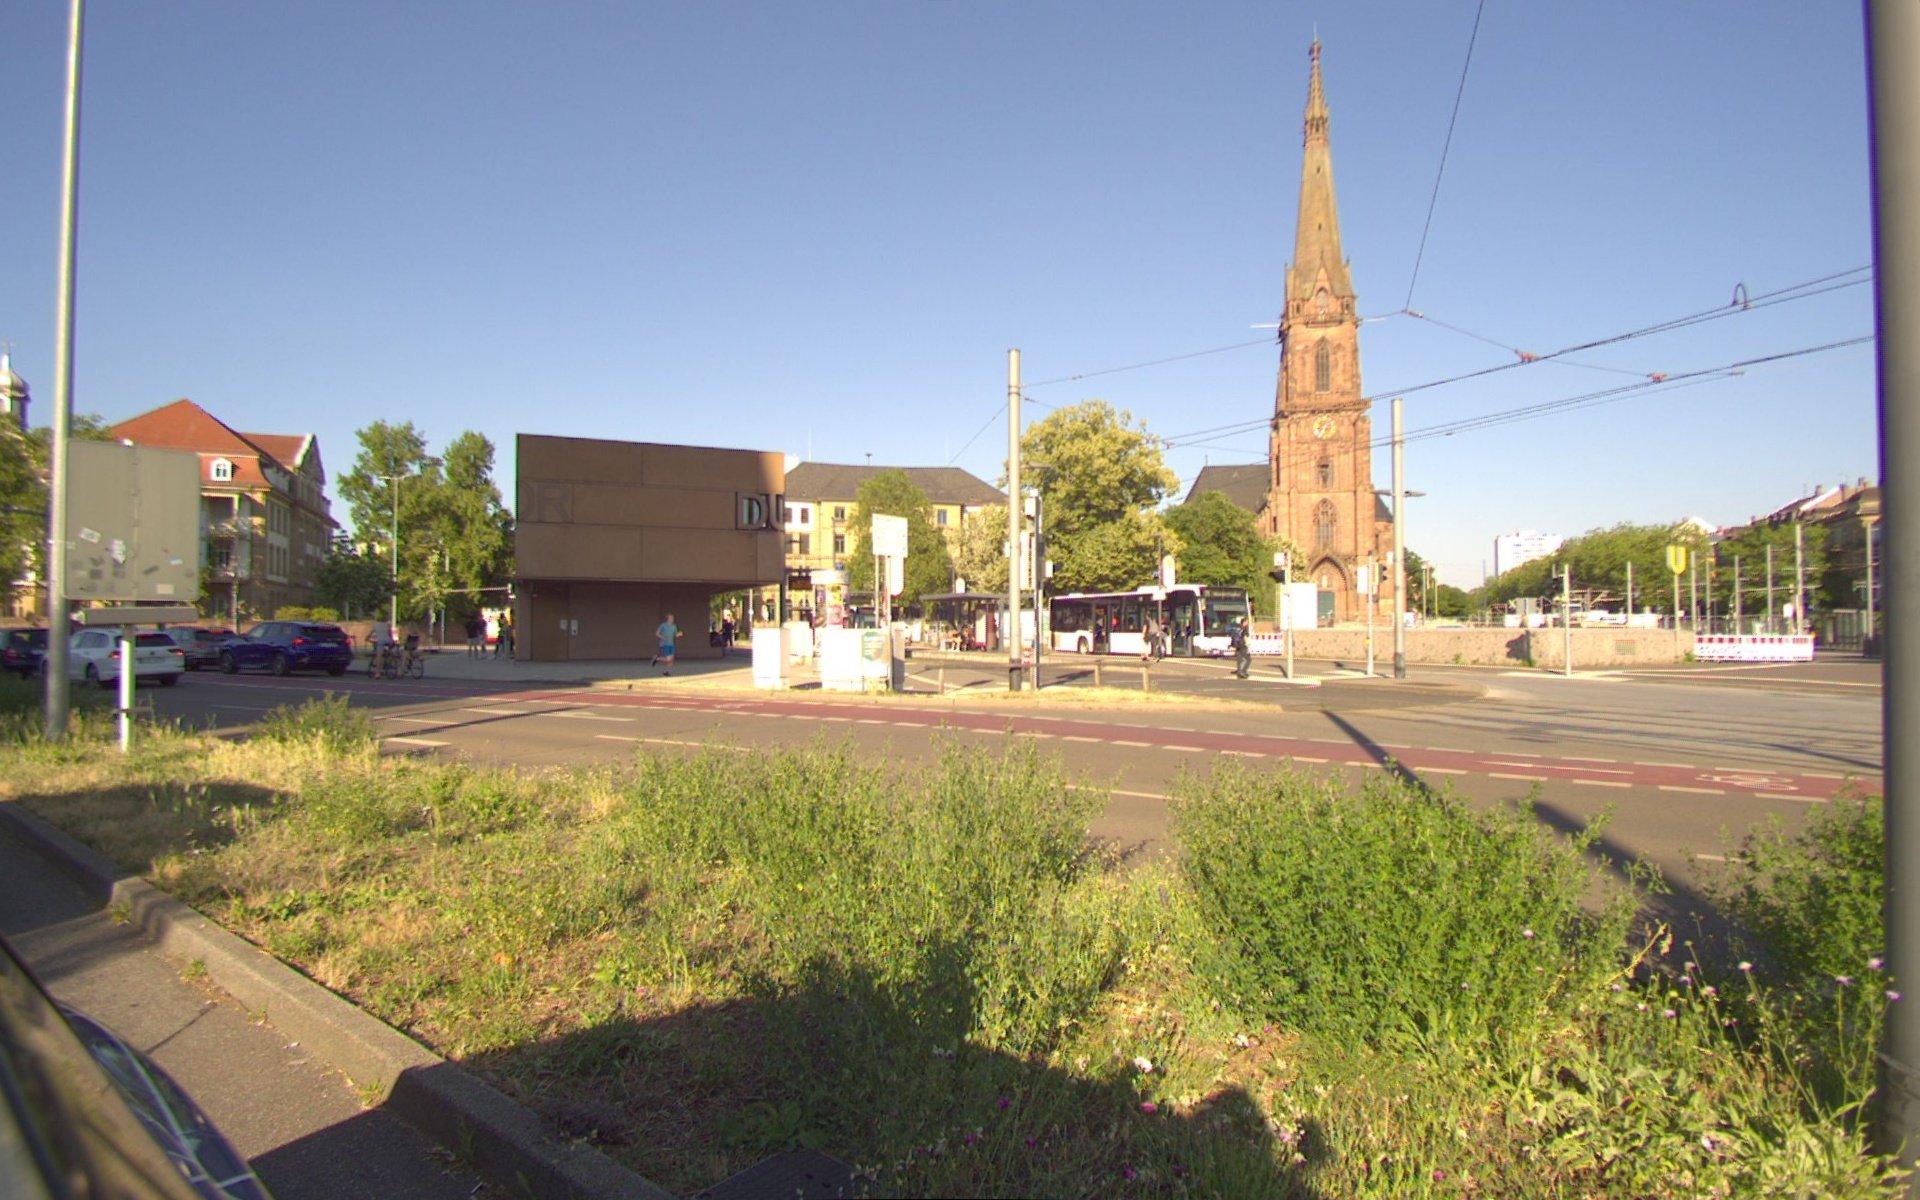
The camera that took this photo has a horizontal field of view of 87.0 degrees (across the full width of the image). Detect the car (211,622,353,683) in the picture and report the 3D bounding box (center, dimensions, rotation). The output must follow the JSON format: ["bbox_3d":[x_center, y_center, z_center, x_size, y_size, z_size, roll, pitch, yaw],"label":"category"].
[{"bbox_3d":[-20.144,1.503,30.052,4.168,1.703,1.740,-1,-1,28],"label":"car"}]

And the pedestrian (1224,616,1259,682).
[{"bbox_3d":[7.812,1.343,28.083,0.702,1.771,0.584,-1,0,-30],"label":"pedestrian"}]

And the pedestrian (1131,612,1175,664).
[{"bbox_3d":[6.572,1.275,34.492,1.025,1.696,1.007,-1,0,-25],"label":"pedestrian"}]

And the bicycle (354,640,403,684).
[{"bbox_3d":[-16.426,1.745,28.577,1.388,1.201,0.461,-1,0,24],"label":"bicycle"}]

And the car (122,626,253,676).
[{"bbox_3d":[-25.217,1.648,33.021,4.375,1.503,1.831,-1,-4,30],"label":"car"}]

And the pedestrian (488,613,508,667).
[{"bbox_3d":[-17.695,1.514,38.776,0.645,2.029,0.470,-1,0,-29],"label":"pedestrian"}]

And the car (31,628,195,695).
[{"bbox_3d":[-21.405,1.484,25.542,4.375,1.503,1.831,-1,0,30],"label":"car"}]

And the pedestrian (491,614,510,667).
[{"bbox_3d":[-18.038,1.581,39.718,0.645,2.029,0.470,-1,0,-29],"label":"pedestrian"}]

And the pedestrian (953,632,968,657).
[{"bbox_3d":[0.002,2.195,50.014,0.531,1.196,0.660,-1,0,-21],"label":"pedestrian"}]

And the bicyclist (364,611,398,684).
[{"bbox_3d":[-16.335,1.346,28.549,0.562,2.029,0.605,-1,-2,25],"label":"bicyclist"}]

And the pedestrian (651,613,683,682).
[{"bbox_3d":[-8.232,1.326,28.446,0.787,1.911,0.612,0,-2,-9],"label":"pedestrian"}]

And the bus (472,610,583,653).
[{"bbox_3d":[-36.929,2.583,87.161,3.049,3.236,12.521,-1,0,6],"label":"bus"}]

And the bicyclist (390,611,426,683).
[{"bbox_3d":[-15.897,1.344,29.150,0.705,2.029,0.605,-1,-2,25],"label":"bicyclist"}]

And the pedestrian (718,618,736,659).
[{"bbox_3d":[-11.984,1.976,52.130,0.762,2.029,0.778,-1,0,-2],"label":"pedestrian"}]

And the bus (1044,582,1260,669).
[{"bbox_3d":[7.682,0.969,43.308,2.655,3.174,12.216,-1,0,-23],"label":"bus"}]

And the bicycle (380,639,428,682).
[{"bbox_3d":[-16.047,1.740,29.225,1.388,1.201,0.461,-1,0,24],"label":"bicycle"}]

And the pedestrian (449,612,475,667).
[{"bbox_3d":[-18.876,1.487,38.354,0.765,2.029,0.775,-1,0,-37],"label":"pedestrian"}]

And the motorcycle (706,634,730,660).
[{"bbox_3d":[-10.060,1.957,42.081,0.935,1.075,0.331,-1,0,-11],"label":"motorcycle"}]

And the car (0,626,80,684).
[{"bbox_3d":[-26.938,1.511,28.597,4.168,1.471,1.740,-1,0,27],"label":"car"}]
